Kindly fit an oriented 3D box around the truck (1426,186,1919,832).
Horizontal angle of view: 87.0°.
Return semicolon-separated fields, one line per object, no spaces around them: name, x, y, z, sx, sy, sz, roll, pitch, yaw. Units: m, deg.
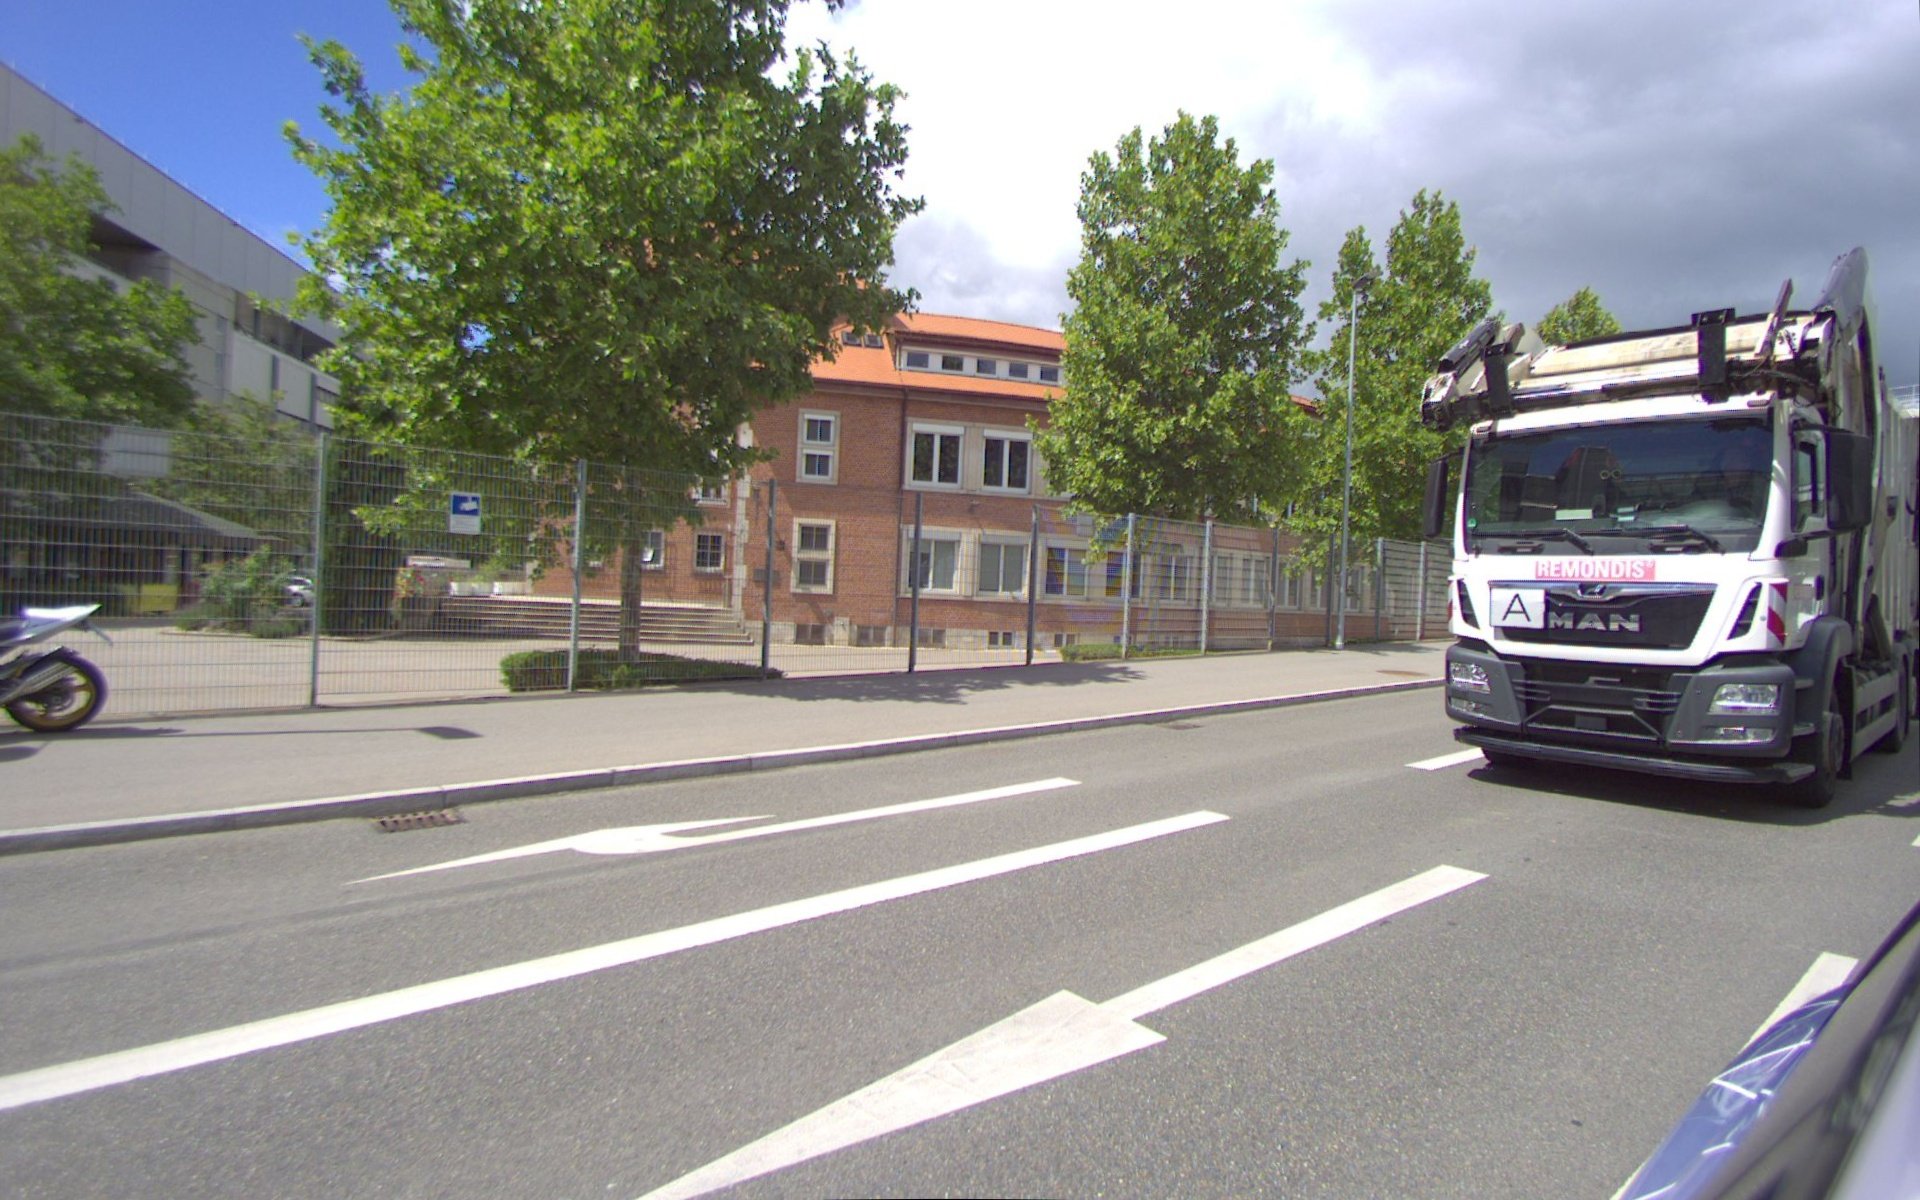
truck;8.269;-0.614;10.493;9.999;3.962;2.492;-1;0;-42

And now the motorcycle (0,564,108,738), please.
motorcycle;-7.437;0.367;7.300;1.978;1.238;0.688;-1;3;-41
